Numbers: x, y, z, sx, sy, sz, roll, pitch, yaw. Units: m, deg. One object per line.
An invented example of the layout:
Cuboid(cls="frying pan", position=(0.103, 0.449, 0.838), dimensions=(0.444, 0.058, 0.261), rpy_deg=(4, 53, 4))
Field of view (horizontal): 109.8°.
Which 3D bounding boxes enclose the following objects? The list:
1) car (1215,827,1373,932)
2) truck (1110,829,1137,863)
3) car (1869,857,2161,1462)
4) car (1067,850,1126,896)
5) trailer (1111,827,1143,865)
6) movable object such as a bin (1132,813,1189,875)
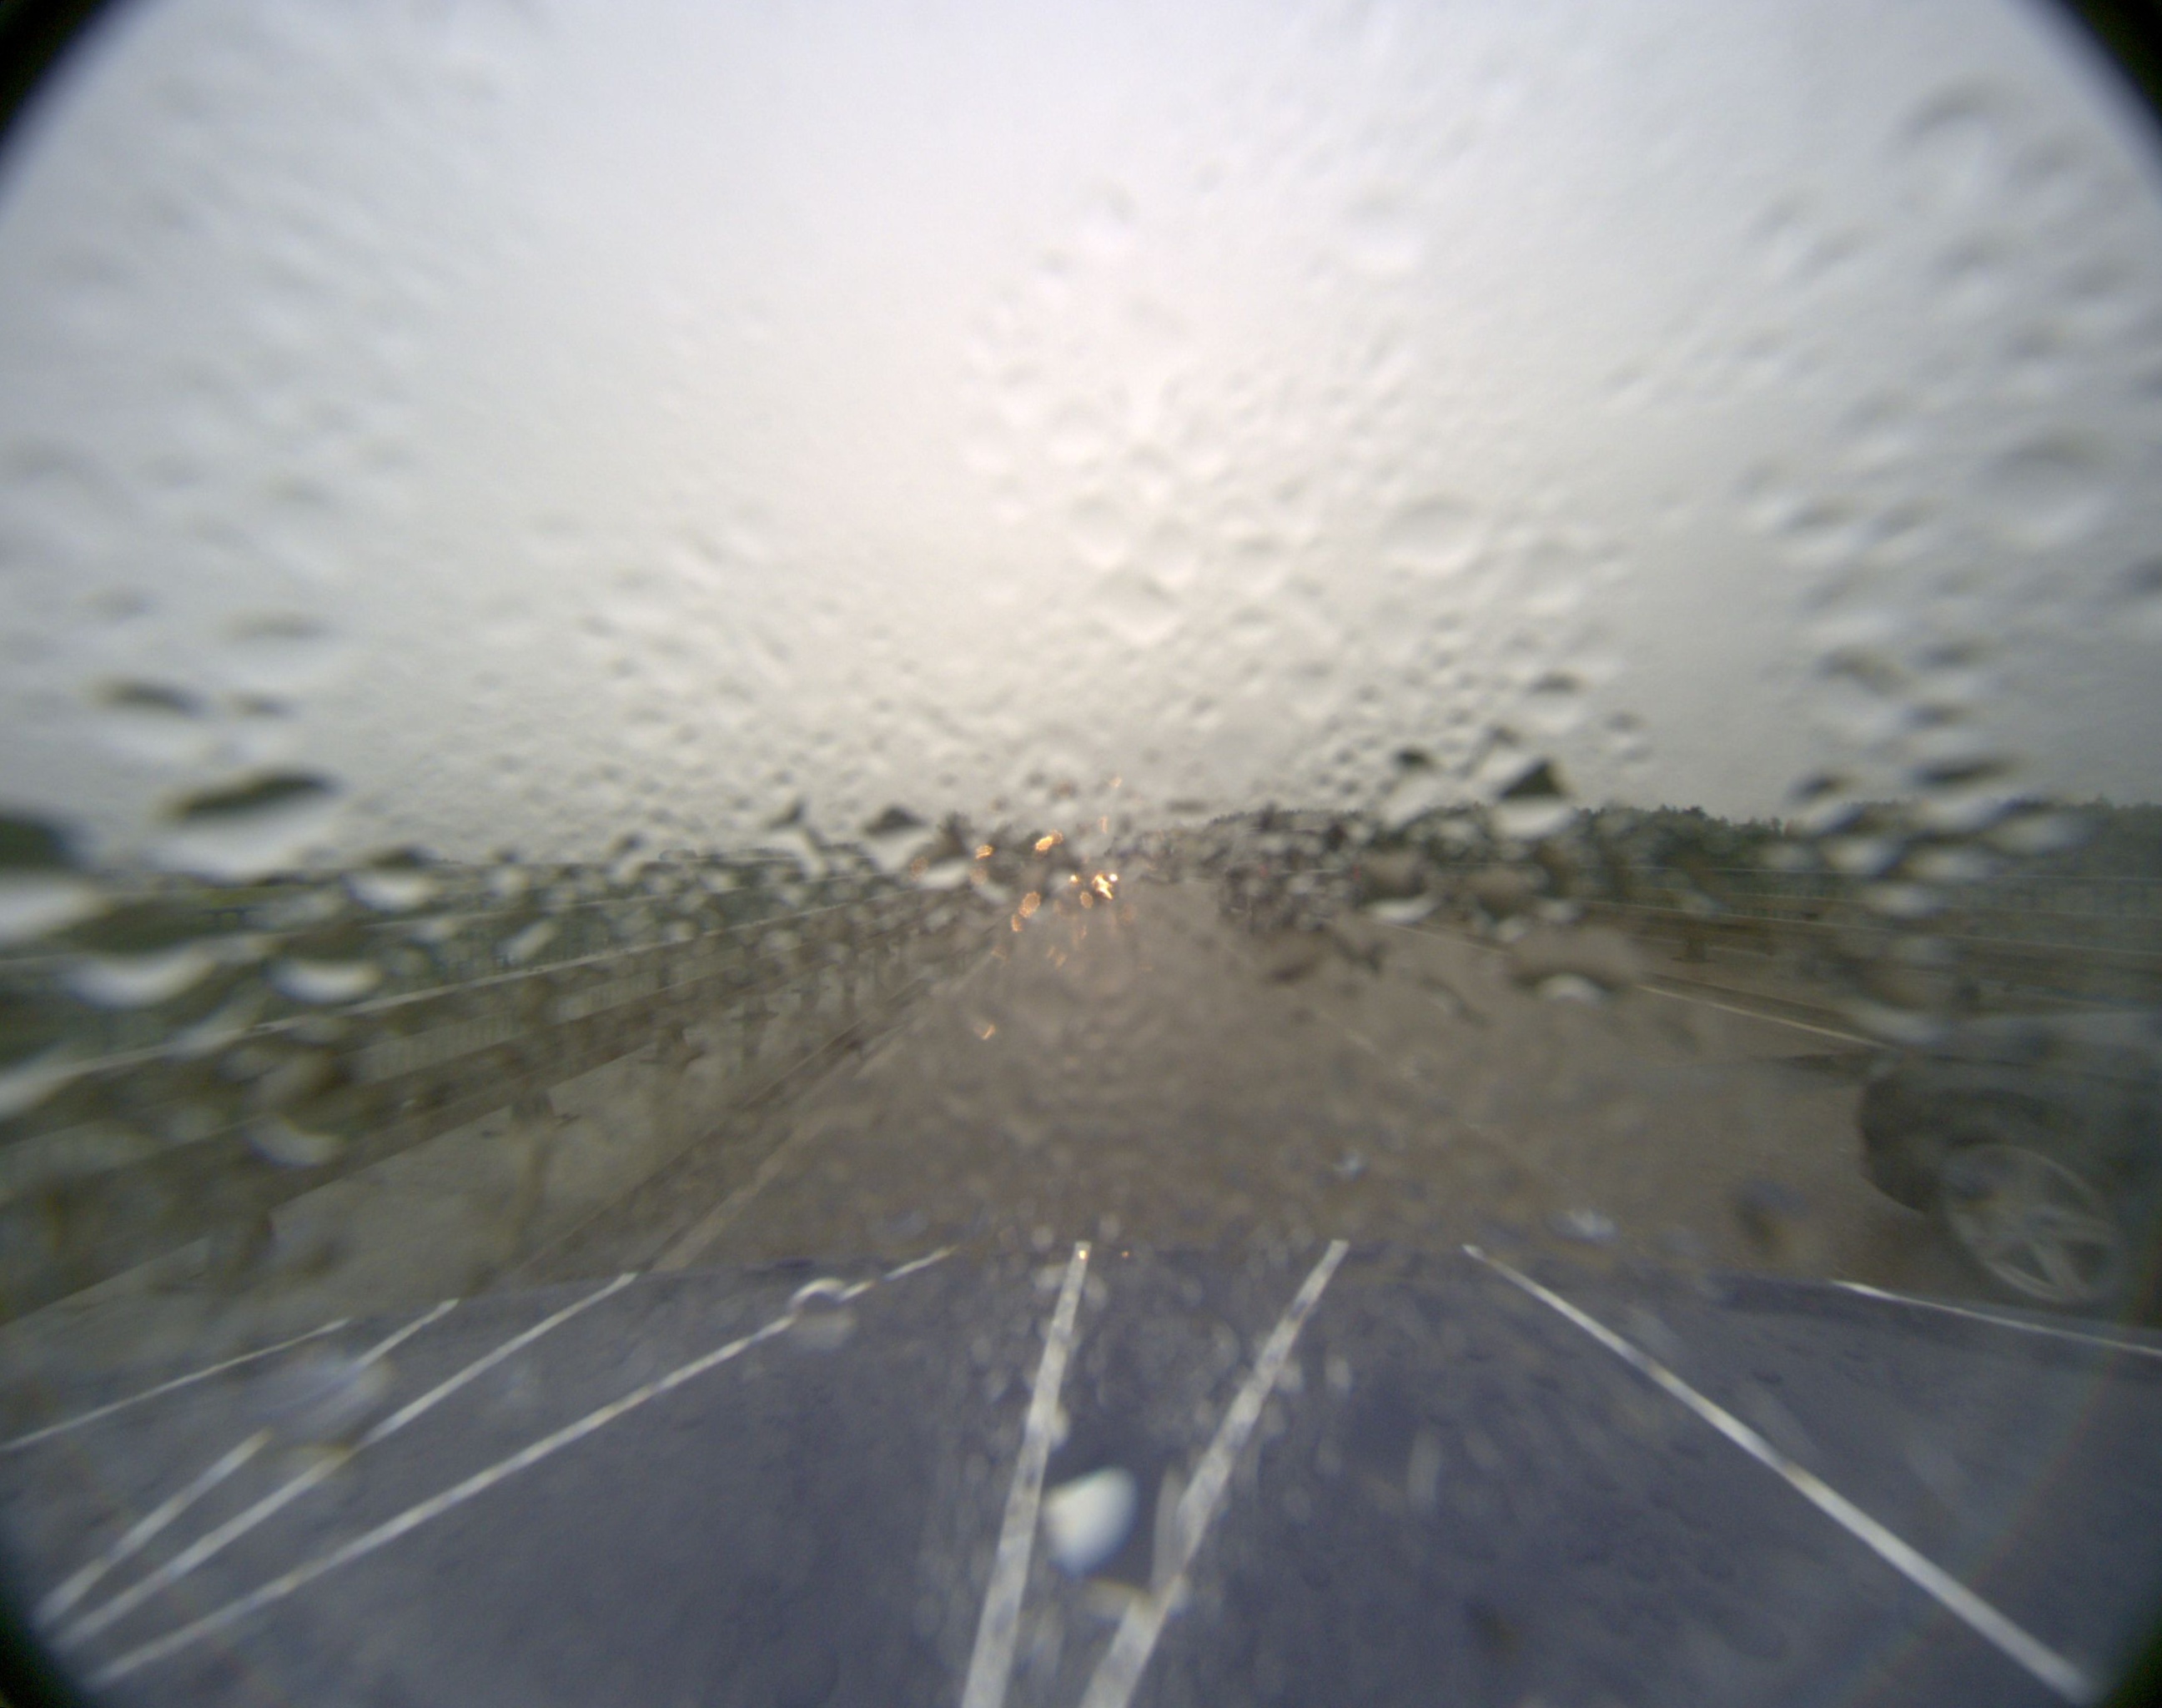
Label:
Cuboid(cls="car", position=(4.156, 0.424, 15.746), dimensions=(2.071, 1.826, 4.931), rpy_deg=(0, 1, 2))
Cuboid(cls="truck", position=(5.169, -0.904, 93.342), dimensions=(2.825, 3.947, 8.763), rpy_deg=(-1, 0, 0))
Cuboid(cls="car", position=(3.667, 0.792, 0.618), dimensions=(1.843, 1.528, 4.068), rpy_deg=(-1, 1, 0))
Cuboid(cls="car", position=(0.530, 0.614, 26.331), dimensions=(1.819, 1.382, 4.069), rpy_deg=(-2, 1, 1))
Cuboid(cls="trailer", position=(5.114, -0.879, 86.756), dimensions=(2.825, 3.947, 13.735), rpy_deg=(-1, 0, 0))
Cuboid(cls="movable object such as a bin", position=(4.583, -0.539, 44.595), dimensions=(2.756, 3.425, 4.642), rpy_deg=(-1, 0, -2))
